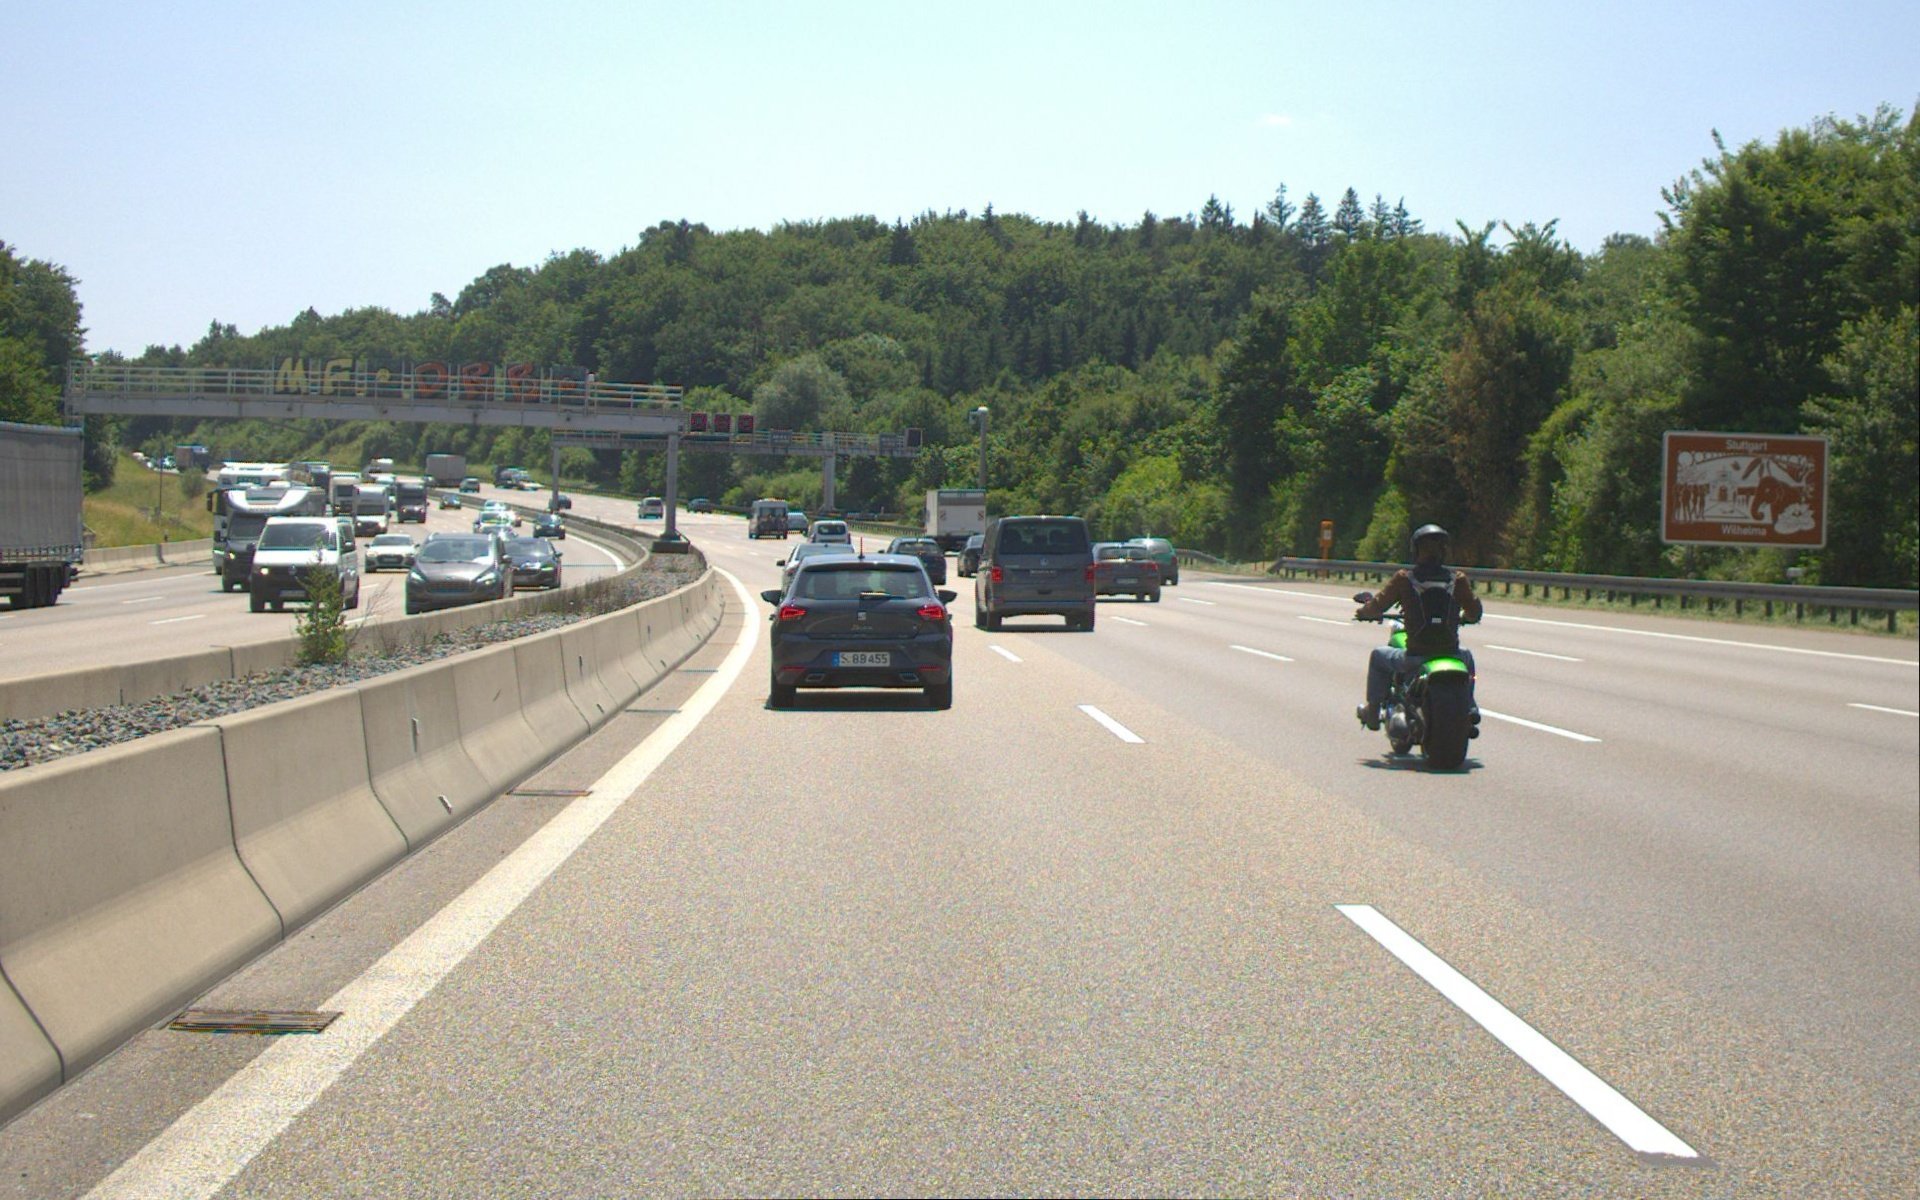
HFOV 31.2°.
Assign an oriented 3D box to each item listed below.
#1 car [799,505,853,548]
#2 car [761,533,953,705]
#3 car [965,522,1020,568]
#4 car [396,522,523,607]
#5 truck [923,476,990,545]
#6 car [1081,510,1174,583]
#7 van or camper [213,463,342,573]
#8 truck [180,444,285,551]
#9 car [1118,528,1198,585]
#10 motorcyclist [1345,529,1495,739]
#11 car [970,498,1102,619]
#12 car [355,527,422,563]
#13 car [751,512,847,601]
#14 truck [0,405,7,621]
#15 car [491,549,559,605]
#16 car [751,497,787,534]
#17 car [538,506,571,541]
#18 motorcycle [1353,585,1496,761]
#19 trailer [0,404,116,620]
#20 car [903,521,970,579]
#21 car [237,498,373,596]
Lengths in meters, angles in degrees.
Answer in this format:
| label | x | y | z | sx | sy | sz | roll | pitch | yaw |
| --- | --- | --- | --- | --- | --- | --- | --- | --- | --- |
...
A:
| label | x | y | z | sx | sy | sz | roll | pitch | yaw |
| --- | --- | --- | --- | --- | --- | --- | --- | --- | --- |
| car | -6.000 | -3.291 | 153.289 | 2.103 | 1.738 | 4.689 | 0 | 3 | -6 |
| car | -0.971 | 0.136 | 33.111 | 1.708 | 1.428 | 4.001 | 1 | 2 | -1 |
| car | 1.093 | -1.903 | 118.473 | 1.665 | 1.403 | 4.904 | 1 | 3 | -2 |
| car | -9.966 | -0.730 | 68.768 | 1.872 | 1.627 | 5.164 | 0 | 1 | -1 |
| truck | -0.218 | -4.438 | 168.714 | 2.985 | 3.155 | 7.576 | 1 | 3 | -2 |
| car | 4.049 | -1.305 | 83.652 | 1.849 | 1.722 | 4.001 | 0 | 1 | -3 |
| van or camper | -18.819 | -2.258 | 95.200 | 2.558 | 2.921 | 7.351 | 0 | 1 | -4 |
| truck | -25.393 | -3.536 | 120.218 | 2.703 | 3.531 | 6.622 | 1 | 0 | -5 |
| car | 6.036 | -1.339 | 105.405 | 1.993 | 1.722 | 4.001 | 0 | 1 | -3 |
| motorcyclist | 3.173 | 0.221 | 23.785 | 0.852 | 1.422 | 1.023 | 0 | 1 | -3 |
| car | 1.292 | -0.709 | 60.625 | 1.962 | 2.026 | 5.084 | 0 | 0 | -3 |
| car | -20.538 | -1.966 | 123.721 | 1.993 | 1.218 | 4.001 | 1 | 0 | -4 |
| car | -3.485 | -0.914 | 74.323 | 2.012 | 1.839 | 4.000 | 0 | -1 | -3 |
| truck | -20.729 | -1.761 | 66.458 | 3.042 | 4.357 | 6.456 | 1 | 0 | -3 |
| car | -12.097 | -0.654 | 95.853 | 1.674 | 1.491 | 4.953 | 1 | 0 | -5 |
| car | -12.273 | -5.445 | 221.104 | 2.265 | 2.363 | 4.703 | 0 | 2 | -3 |
| car | -25.601 | -4.811 | 217.086 | 1.993 | 2.007 | 4.001 | 1 | -1 | -7 |
| motorcycle | 3.204 | 0.478 | 23.912 | 0.535 | 1.132 | 2.437 | 0 | 1 | -3 |
| trailer | -21.128 | -1.847 | 74.095 | 3.031 | 4.345 | 14.278 | 1 | 0 | -3 |
| car | -0.744 | -1.529 | 105.935 | 1.945 | 1.706 | 4.000 | 1 | 0 | -2 |
| car | -13.933 | -1.144 | 73.362 | 2.002 | 2.007 | 5.185 | 0 | 1 | -1 |
